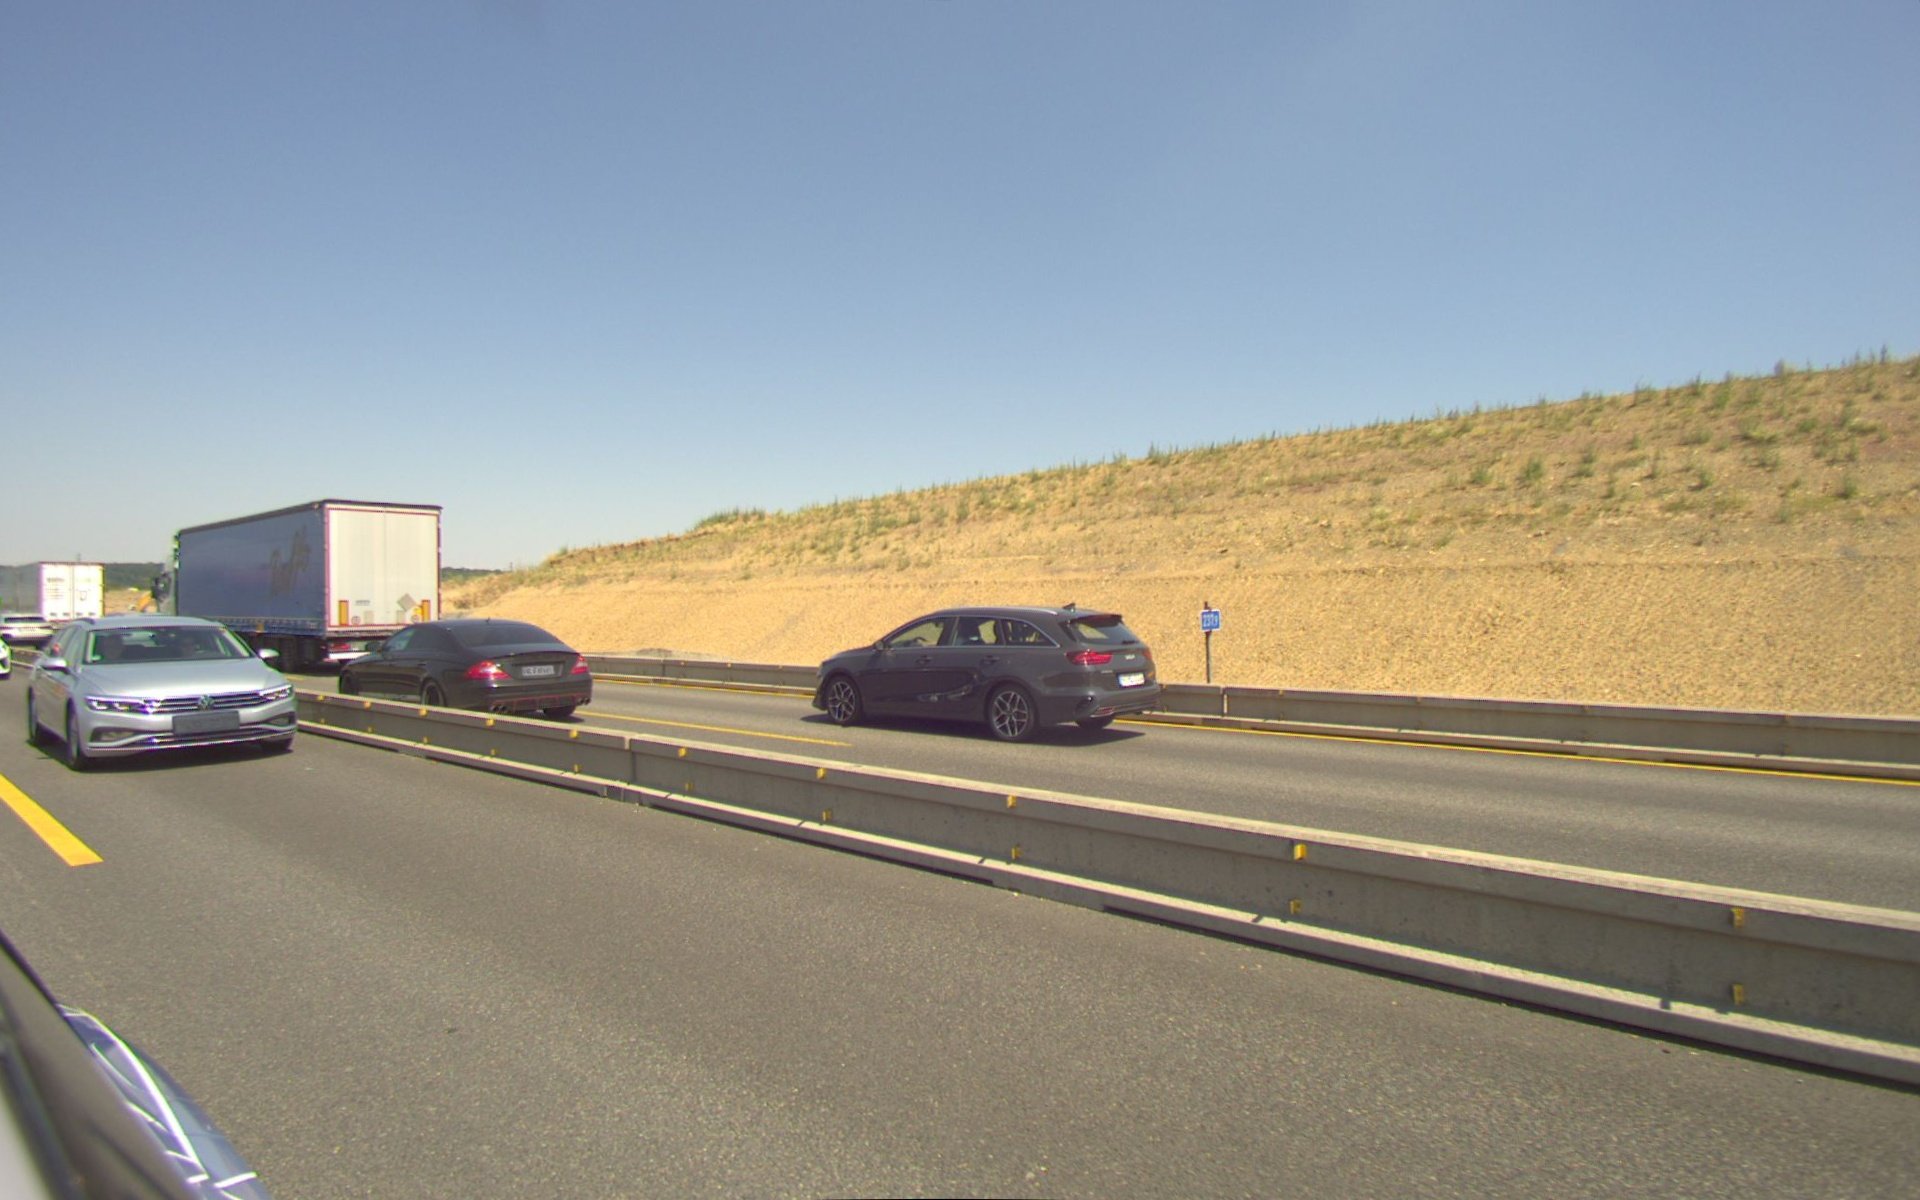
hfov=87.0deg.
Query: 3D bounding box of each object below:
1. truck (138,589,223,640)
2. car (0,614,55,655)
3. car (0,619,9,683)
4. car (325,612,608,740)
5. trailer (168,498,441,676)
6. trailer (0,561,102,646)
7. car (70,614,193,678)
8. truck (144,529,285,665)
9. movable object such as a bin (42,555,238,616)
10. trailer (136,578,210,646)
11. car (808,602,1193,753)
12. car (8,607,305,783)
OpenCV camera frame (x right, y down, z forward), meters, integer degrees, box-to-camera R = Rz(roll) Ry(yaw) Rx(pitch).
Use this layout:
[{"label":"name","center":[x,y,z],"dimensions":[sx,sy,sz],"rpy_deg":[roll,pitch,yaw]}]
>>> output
[{"label":"truck","center":[-47.949,0.839,62.223],"dimensions":[5.045,2.986,2.559],"rpy_deg":[0,0,32]},{"label":"car","center":[-38.163,1.363,40.920],"dimensions":[4.240,1.499,1.789],"rpy_deg":[0,1,40]},{"label":"car","center":[-23.801,1.175,23.721],"dimensions":[4.029,1.408,1.851],"rpy_deg":[0,1,42]},{"label":"car","center":[-6.918,0.905,13.924],"dimensions":[4.857,1.397,1.711],"rpy_deg":[0,1,40]},{"label":"trailer","center":[-18.747,-0.218,28.190],"dimensions":[13.989,3.968,2.626],"rpy_deg":[-1,0,41]},{"label":"trailer","center":[-50.765,0.295,56.249],"dimensions":[15.527,4.211,2.476],"rpy_deg":[-1,-2,42]},{"label":"car","center":[-21.936,1.180,26.742],"dimensions":[4.136,1.567,1.757],"rpy_deg":[-1,-3,40]},{"label":"truck","center":[-24.420,-0.075,33.085],"dimensions":[5.146,4.084,2.566],"rpy_deg":[-1,0,40]},{"label":"movable object such as a bin","center":[-98.451,-1.754,122.227],"dimensions":[3.386,6.823,18.034],"rpy_deg":[0,1,40]},{"label":"trailer","center":[-51.169,0.678,65.991],"dimensions":[2.752,4.129,8.395],"rpy_deg":[-1,1,-31]},{"label":"car","center":[0.315,0.757,11.892],"dimensions":[4.498,1.435,1.614],"rpy_deg":[0,1,40]},{"label":"car","center":[-8.800,0.875,10.963],"dimensions":[4.098,1.519,1.781],"rpy_deg":[-1,0,41]}]
